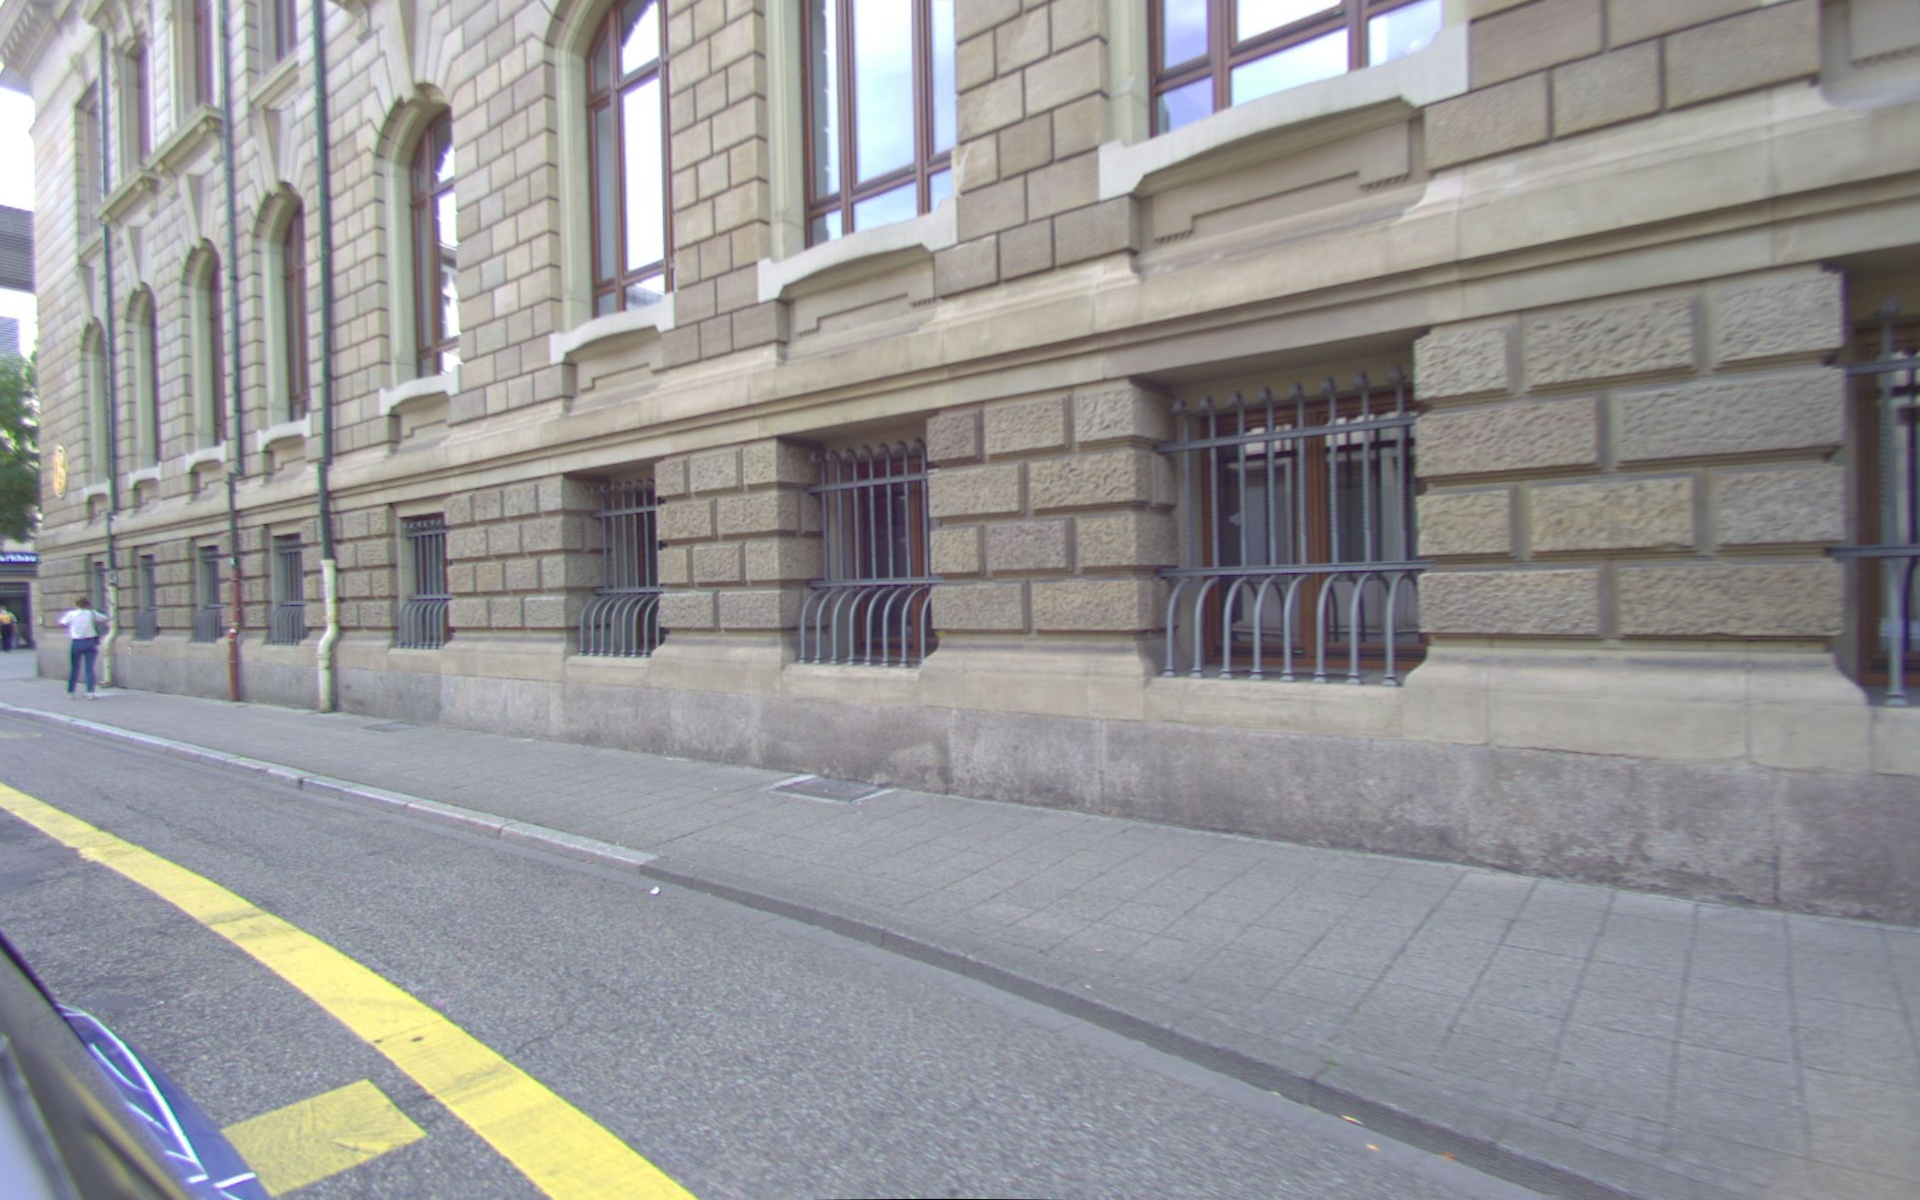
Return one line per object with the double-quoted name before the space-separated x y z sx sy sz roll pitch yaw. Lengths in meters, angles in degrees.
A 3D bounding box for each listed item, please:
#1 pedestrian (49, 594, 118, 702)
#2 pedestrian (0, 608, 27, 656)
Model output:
"pedestrian" -15.583 0.829 17.986 1.046 1.833 0.657 -1 2 38
"pedestrian" -35.609 1.203 37.724 0.817 1.732 1.016 -1 2 38
